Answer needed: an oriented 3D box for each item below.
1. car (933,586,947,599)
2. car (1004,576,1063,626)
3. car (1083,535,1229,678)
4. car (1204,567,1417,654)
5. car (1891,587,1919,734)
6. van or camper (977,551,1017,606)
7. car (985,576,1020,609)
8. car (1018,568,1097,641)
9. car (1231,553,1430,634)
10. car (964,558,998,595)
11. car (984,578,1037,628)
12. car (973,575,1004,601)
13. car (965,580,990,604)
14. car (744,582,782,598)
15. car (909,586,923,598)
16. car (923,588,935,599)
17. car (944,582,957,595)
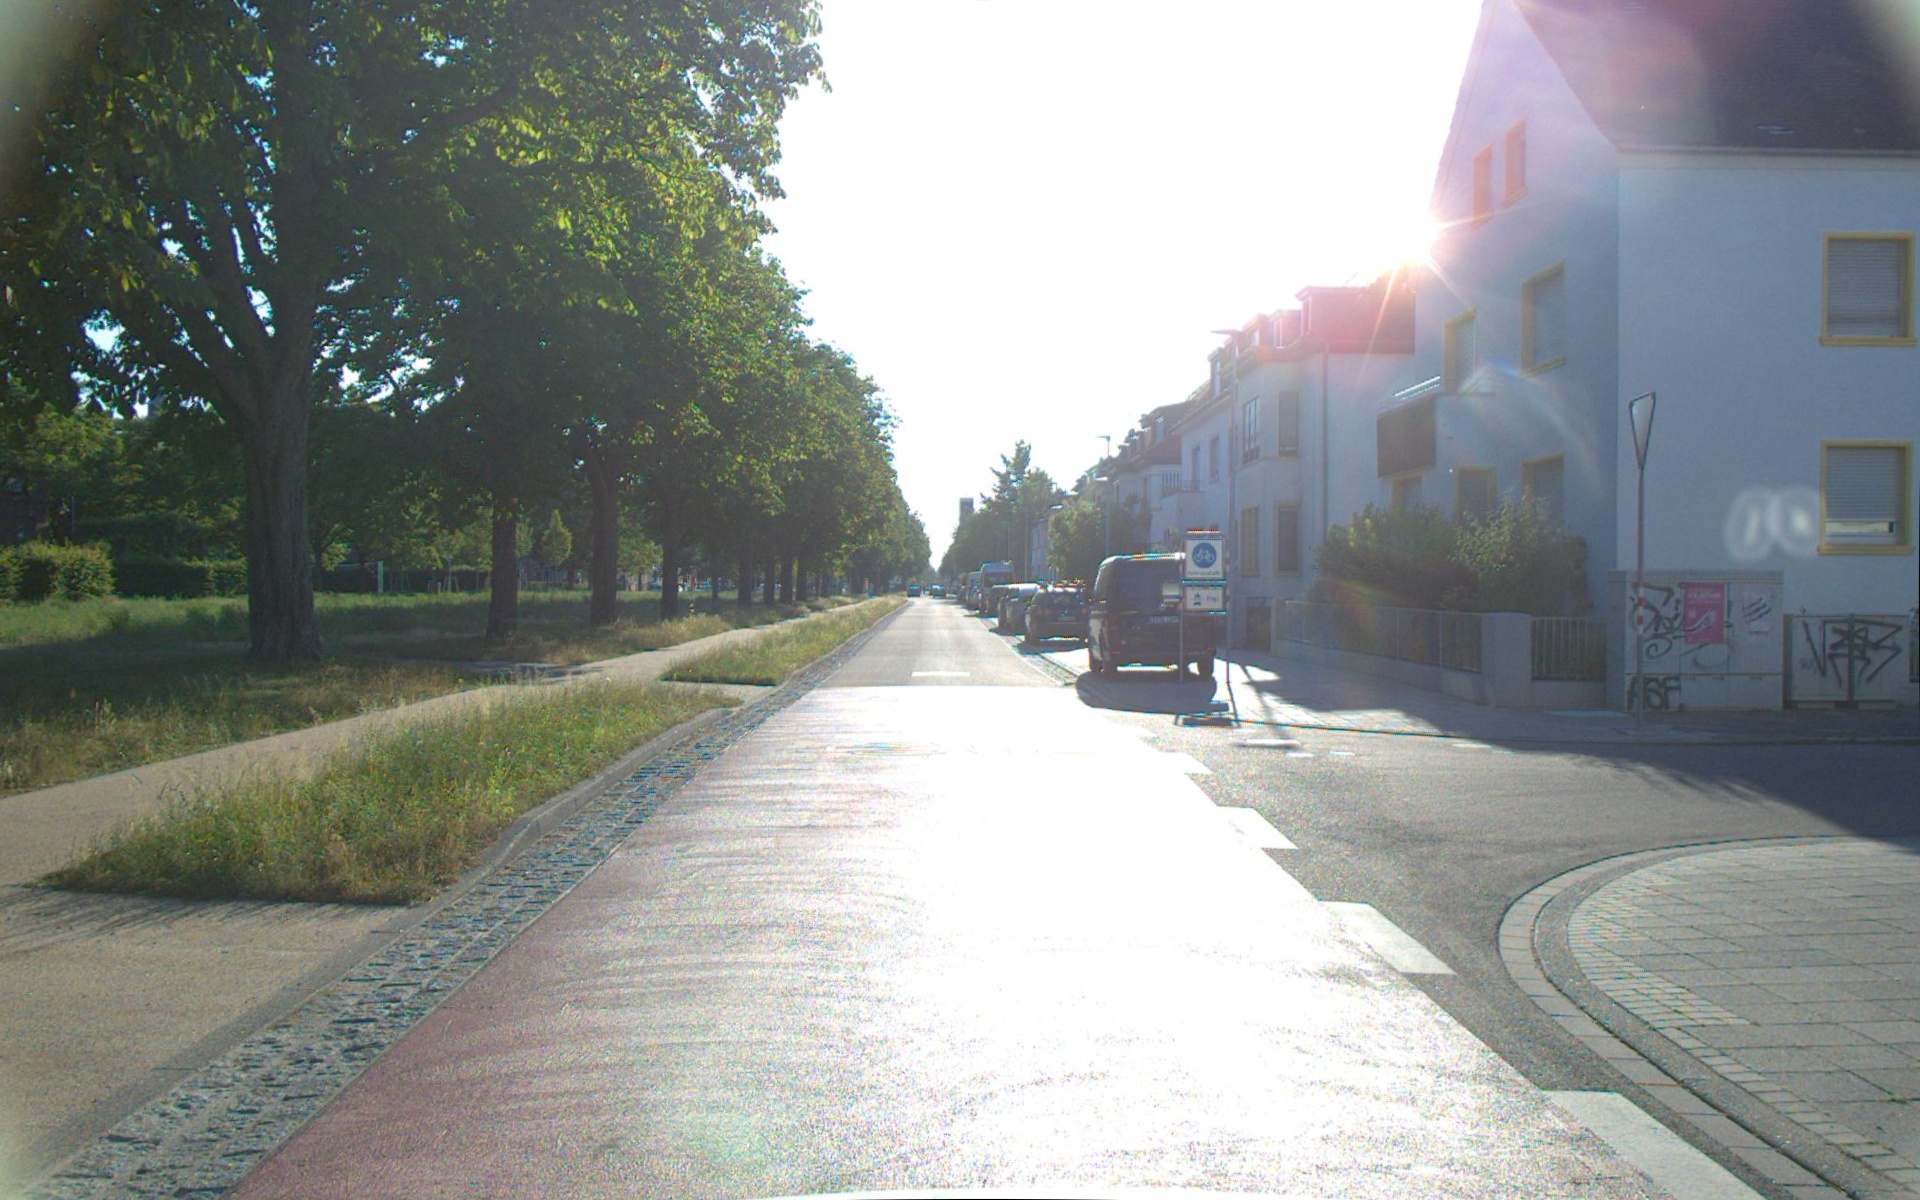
[{"bbox_3d":[-2.789,-1.024,226.318,1.825,1.625,3.893,1,1,-2],"label":"car"},{"bbox_3d":[2.482,0.017,56.887,1.683,1.601,4.209,-2,1,-2],"label":"car"},{"bbox_3d":[3.247,0.049,28.346,1.867,2.169,4.814,-2,1,0],"label":"car"},{"bbox_3d":[7.495,0.220,35.616,4.134,1.756,1.852,1,0,-5],"label":"car"},{"bbox_3d":[11.778,0.653,16.448,3.990,1.496,1.893,1,0,-3],"label":"car"},{"bbox_3d":[1.975,-1.143,89.985,1.904,2.826,5.939,1,0,-1],"label":"van or camper"},{"bbox_3d":[2.122,-0.388,83.403,1.630,1.620,4.085,1,1,-1],"label":"car"},{"bbox_3d":[2.587,0.081,44.789,1.757,1.802,4.472,-2,1,-1],"label":"car"},{"bbox_3d":[8.512,-0.156,38.187,4.134,1.756,1.852,-1,1,-5],"label":"car"},{"bbox_3d":[1.515,-1.702,120.106,2.084,2.577,5.186,-1,1,-3],"label":"car"},{"bbox_3d":[1.867,0.065,62.530,1.795,1.714,4.415,2,1,-1],"label":"car"},{"bbox_3d":[1.858,-0.799,108.640,1.800,1.664,4.130,-1,1,-2],"label":"car"},{"bbox_3d":[1.207,-0.585,114.075,1.616,1.557,3.851,-1,1,0],"label":"car"},{"bbox_3d":[-22.934,-1.166,192.441,4.266,1.795,1.996,1,0,-10],"label":"car"},{"bbox_3d":[-6.178,-1.184,231.408,1.825,1.625,3.869,1,0,-2],"label":"car"},{"bbox_3d":[-4.801,-1.045,256.412,1.825,1.625,3.869,1,0,-2],"label":"car"},{"bbox_3d":[-1.161,-1.496,207.676,1.616,1.557,3.851,0,1,0],"label":"car"}]
